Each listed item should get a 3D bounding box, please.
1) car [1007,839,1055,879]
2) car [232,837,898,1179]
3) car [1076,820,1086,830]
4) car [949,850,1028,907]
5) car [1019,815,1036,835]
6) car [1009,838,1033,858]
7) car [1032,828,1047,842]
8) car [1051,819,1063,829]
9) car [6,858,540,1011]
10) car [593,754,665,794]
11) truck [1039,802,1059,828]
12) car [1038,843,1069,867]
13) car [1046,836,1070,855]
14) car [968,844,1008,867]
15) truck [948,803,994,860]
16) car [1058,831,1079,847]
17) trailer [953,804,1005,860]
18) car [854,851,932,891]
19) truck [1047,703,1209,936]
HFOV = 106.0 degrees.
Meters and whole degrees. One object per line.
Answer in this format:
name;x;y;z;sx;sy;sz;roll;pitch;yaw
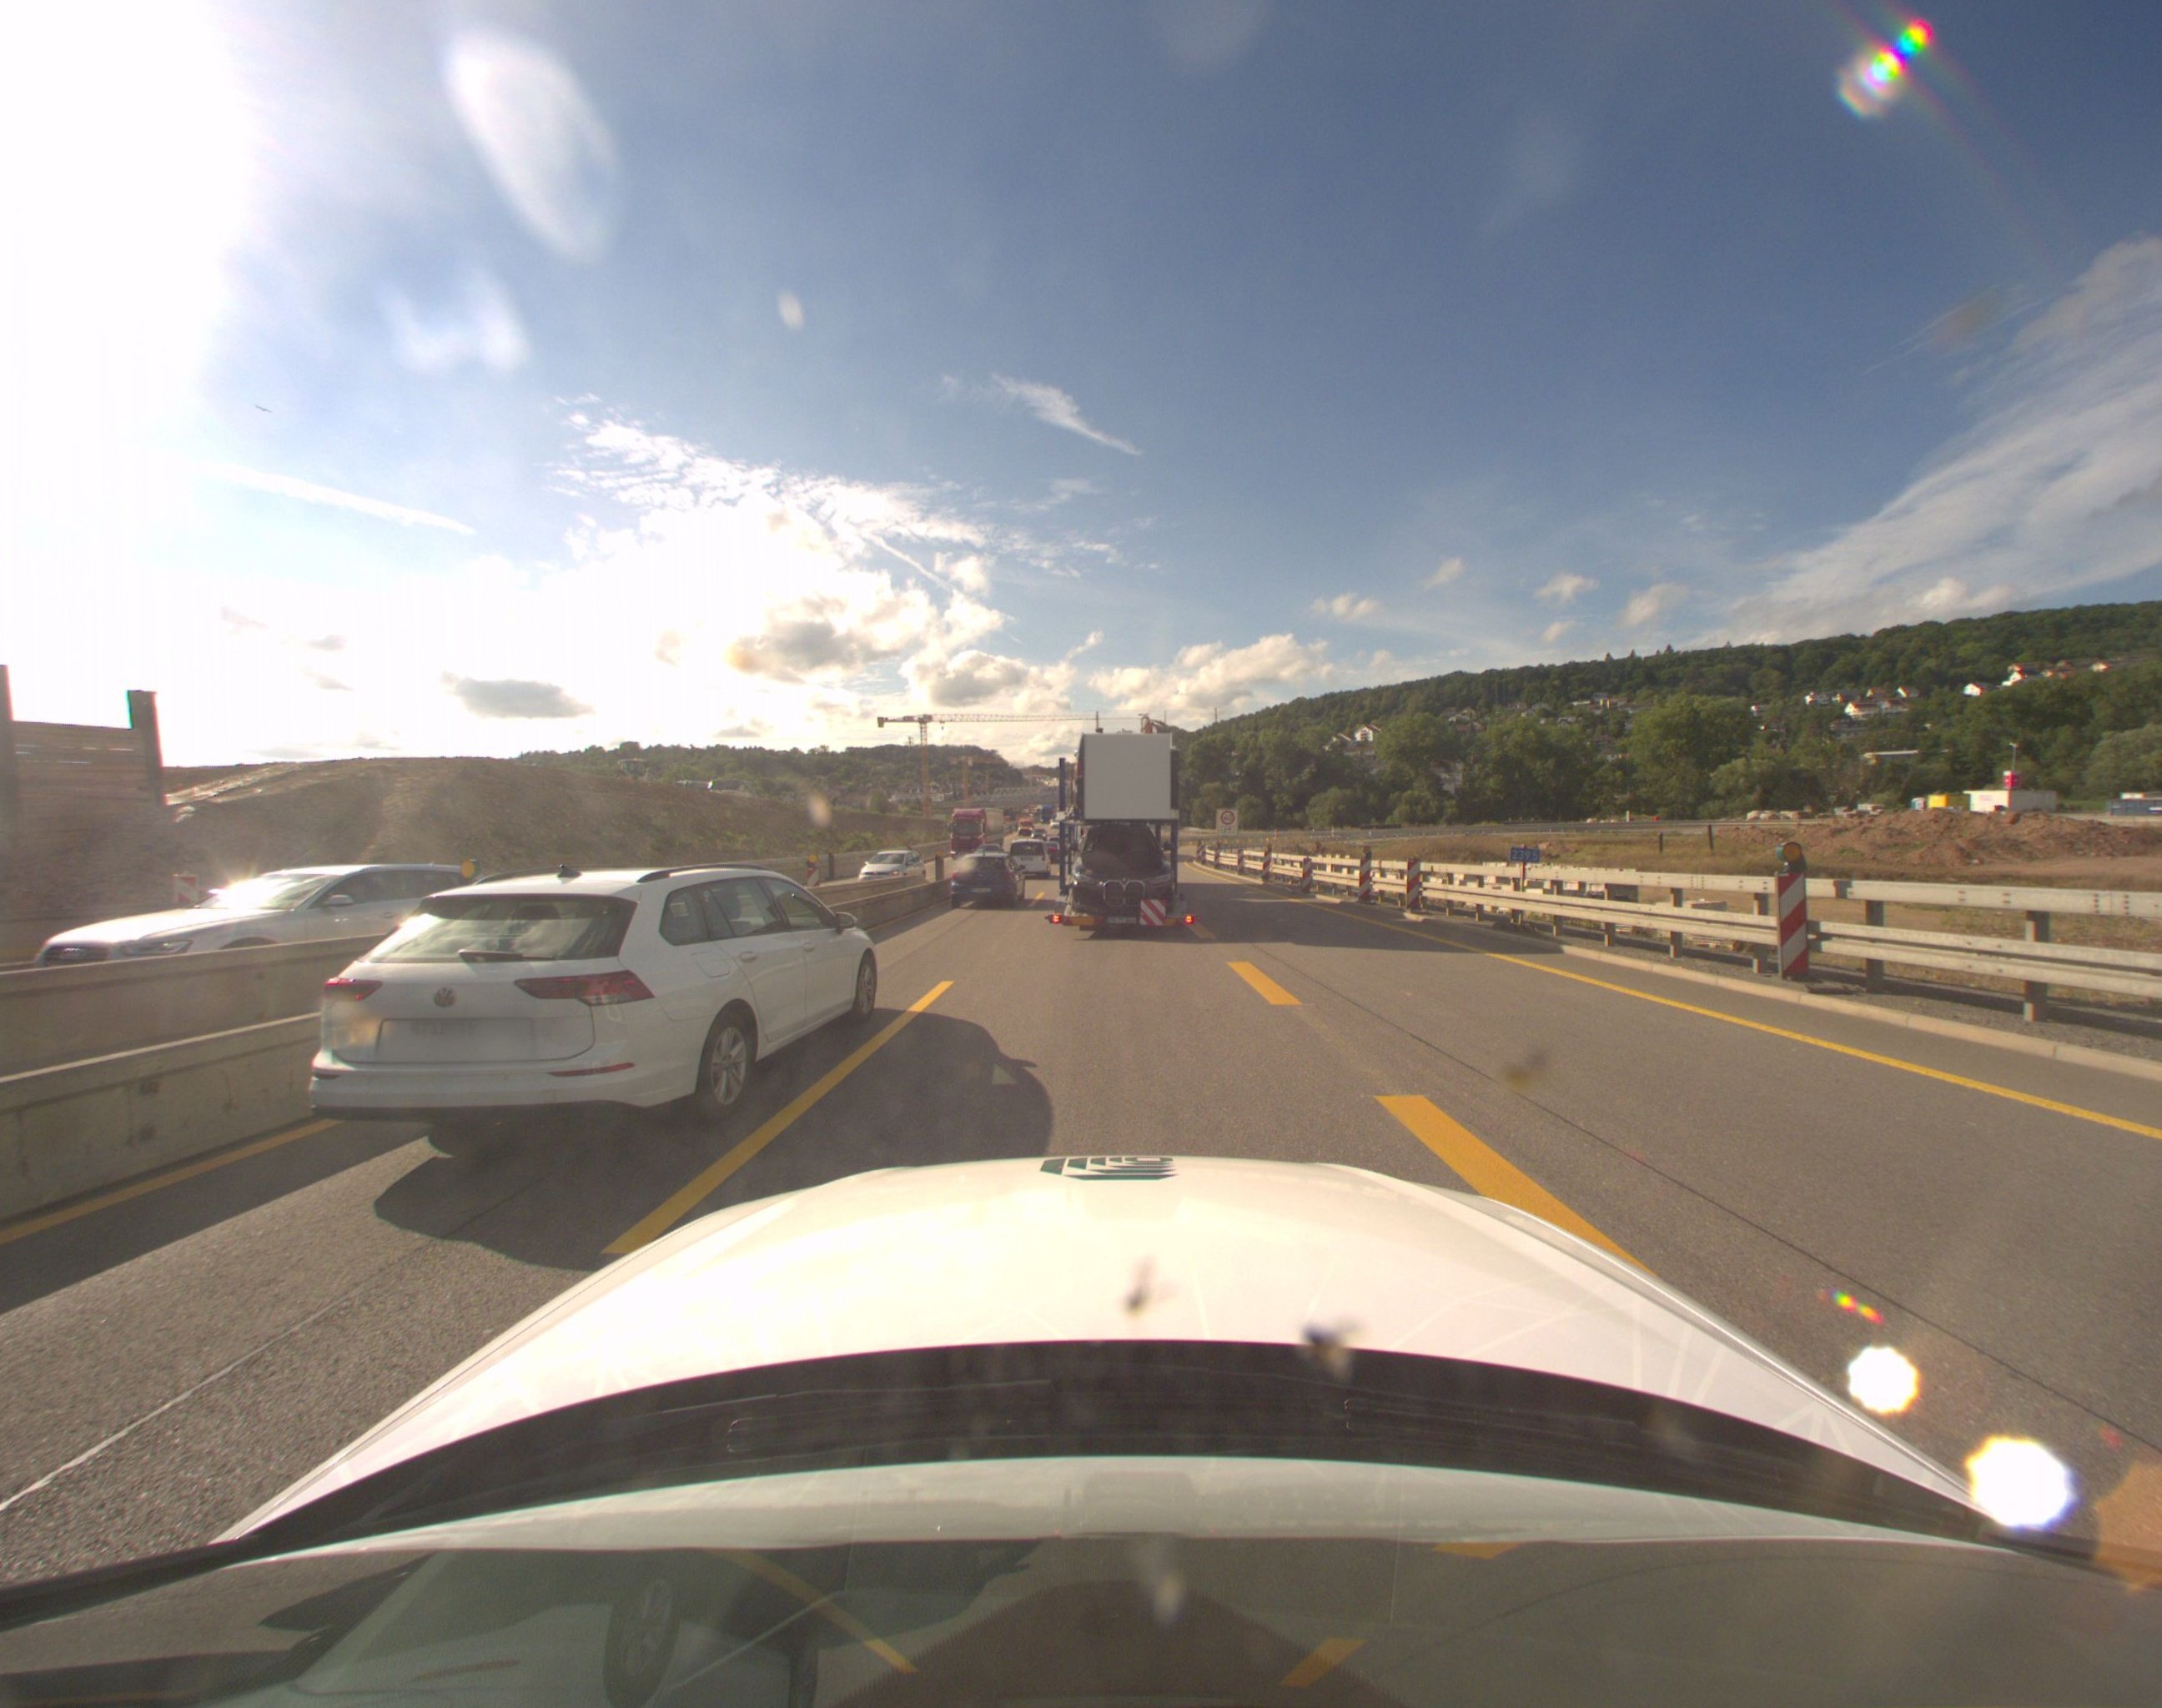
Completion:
car;-2.319;0.254;38.474;1.815;1.792;4.002;0;-1;3
car;-2.821;0.744;5.893;1.763;1.491;4.519;-1;-2;3
car;-0.054;-5.283;149.848;1.839;1.648;4.503;0;0;-1
car;-2.496;0.652;22.874;1.716;1.422;4.000;-1;-1;0
car;-7.916;-4.275;120.977;1.986;2.879;6.069;0;2;2
car;-5.242;-0.506;71.707;1.838;1.648;4.504;0;0;0
car;-5.254;-2.442;103.802;1.840;1.648;4.233;0;0;-2
car;-4.303;-5.352;146.756;1.985;1.683;4.004;0;1;3
car;-9.564;0.799;10.337;1.841;1.440;4.570;0;0;9
car;-32.765;-5.740;59.262;1.987;2.140;5.322;-5;-1;1
truck;-6.889;-8.471;178.340;2.809;4.789;13.070;0;-1;5
car;-1.881;0.110;56.769;1.987;1.556;4.400;0;-1;0
car;-1.958;-0.712;71.022;1.987;1.552;3.999;0;-1;0
car;-5.965;0.066;52.959;1.813;1.440;4.618;0;0;3
truck;-8.832;-1.758;66.113;2.905;4.387;6.284;1;0;0
car;-1.364;-1.643;89.022;1.985;1.666;4.003;0;0;2
trailer;-8.860;-1.869;72.580;2.967;4.422;13.812;1;1;-1
car;-7.154;0.603;31.304;1.745;1.440;3.811;0;0;6
truck;0.953;-0.722;23.273;2.743;3.954;18.893;0;1;1
